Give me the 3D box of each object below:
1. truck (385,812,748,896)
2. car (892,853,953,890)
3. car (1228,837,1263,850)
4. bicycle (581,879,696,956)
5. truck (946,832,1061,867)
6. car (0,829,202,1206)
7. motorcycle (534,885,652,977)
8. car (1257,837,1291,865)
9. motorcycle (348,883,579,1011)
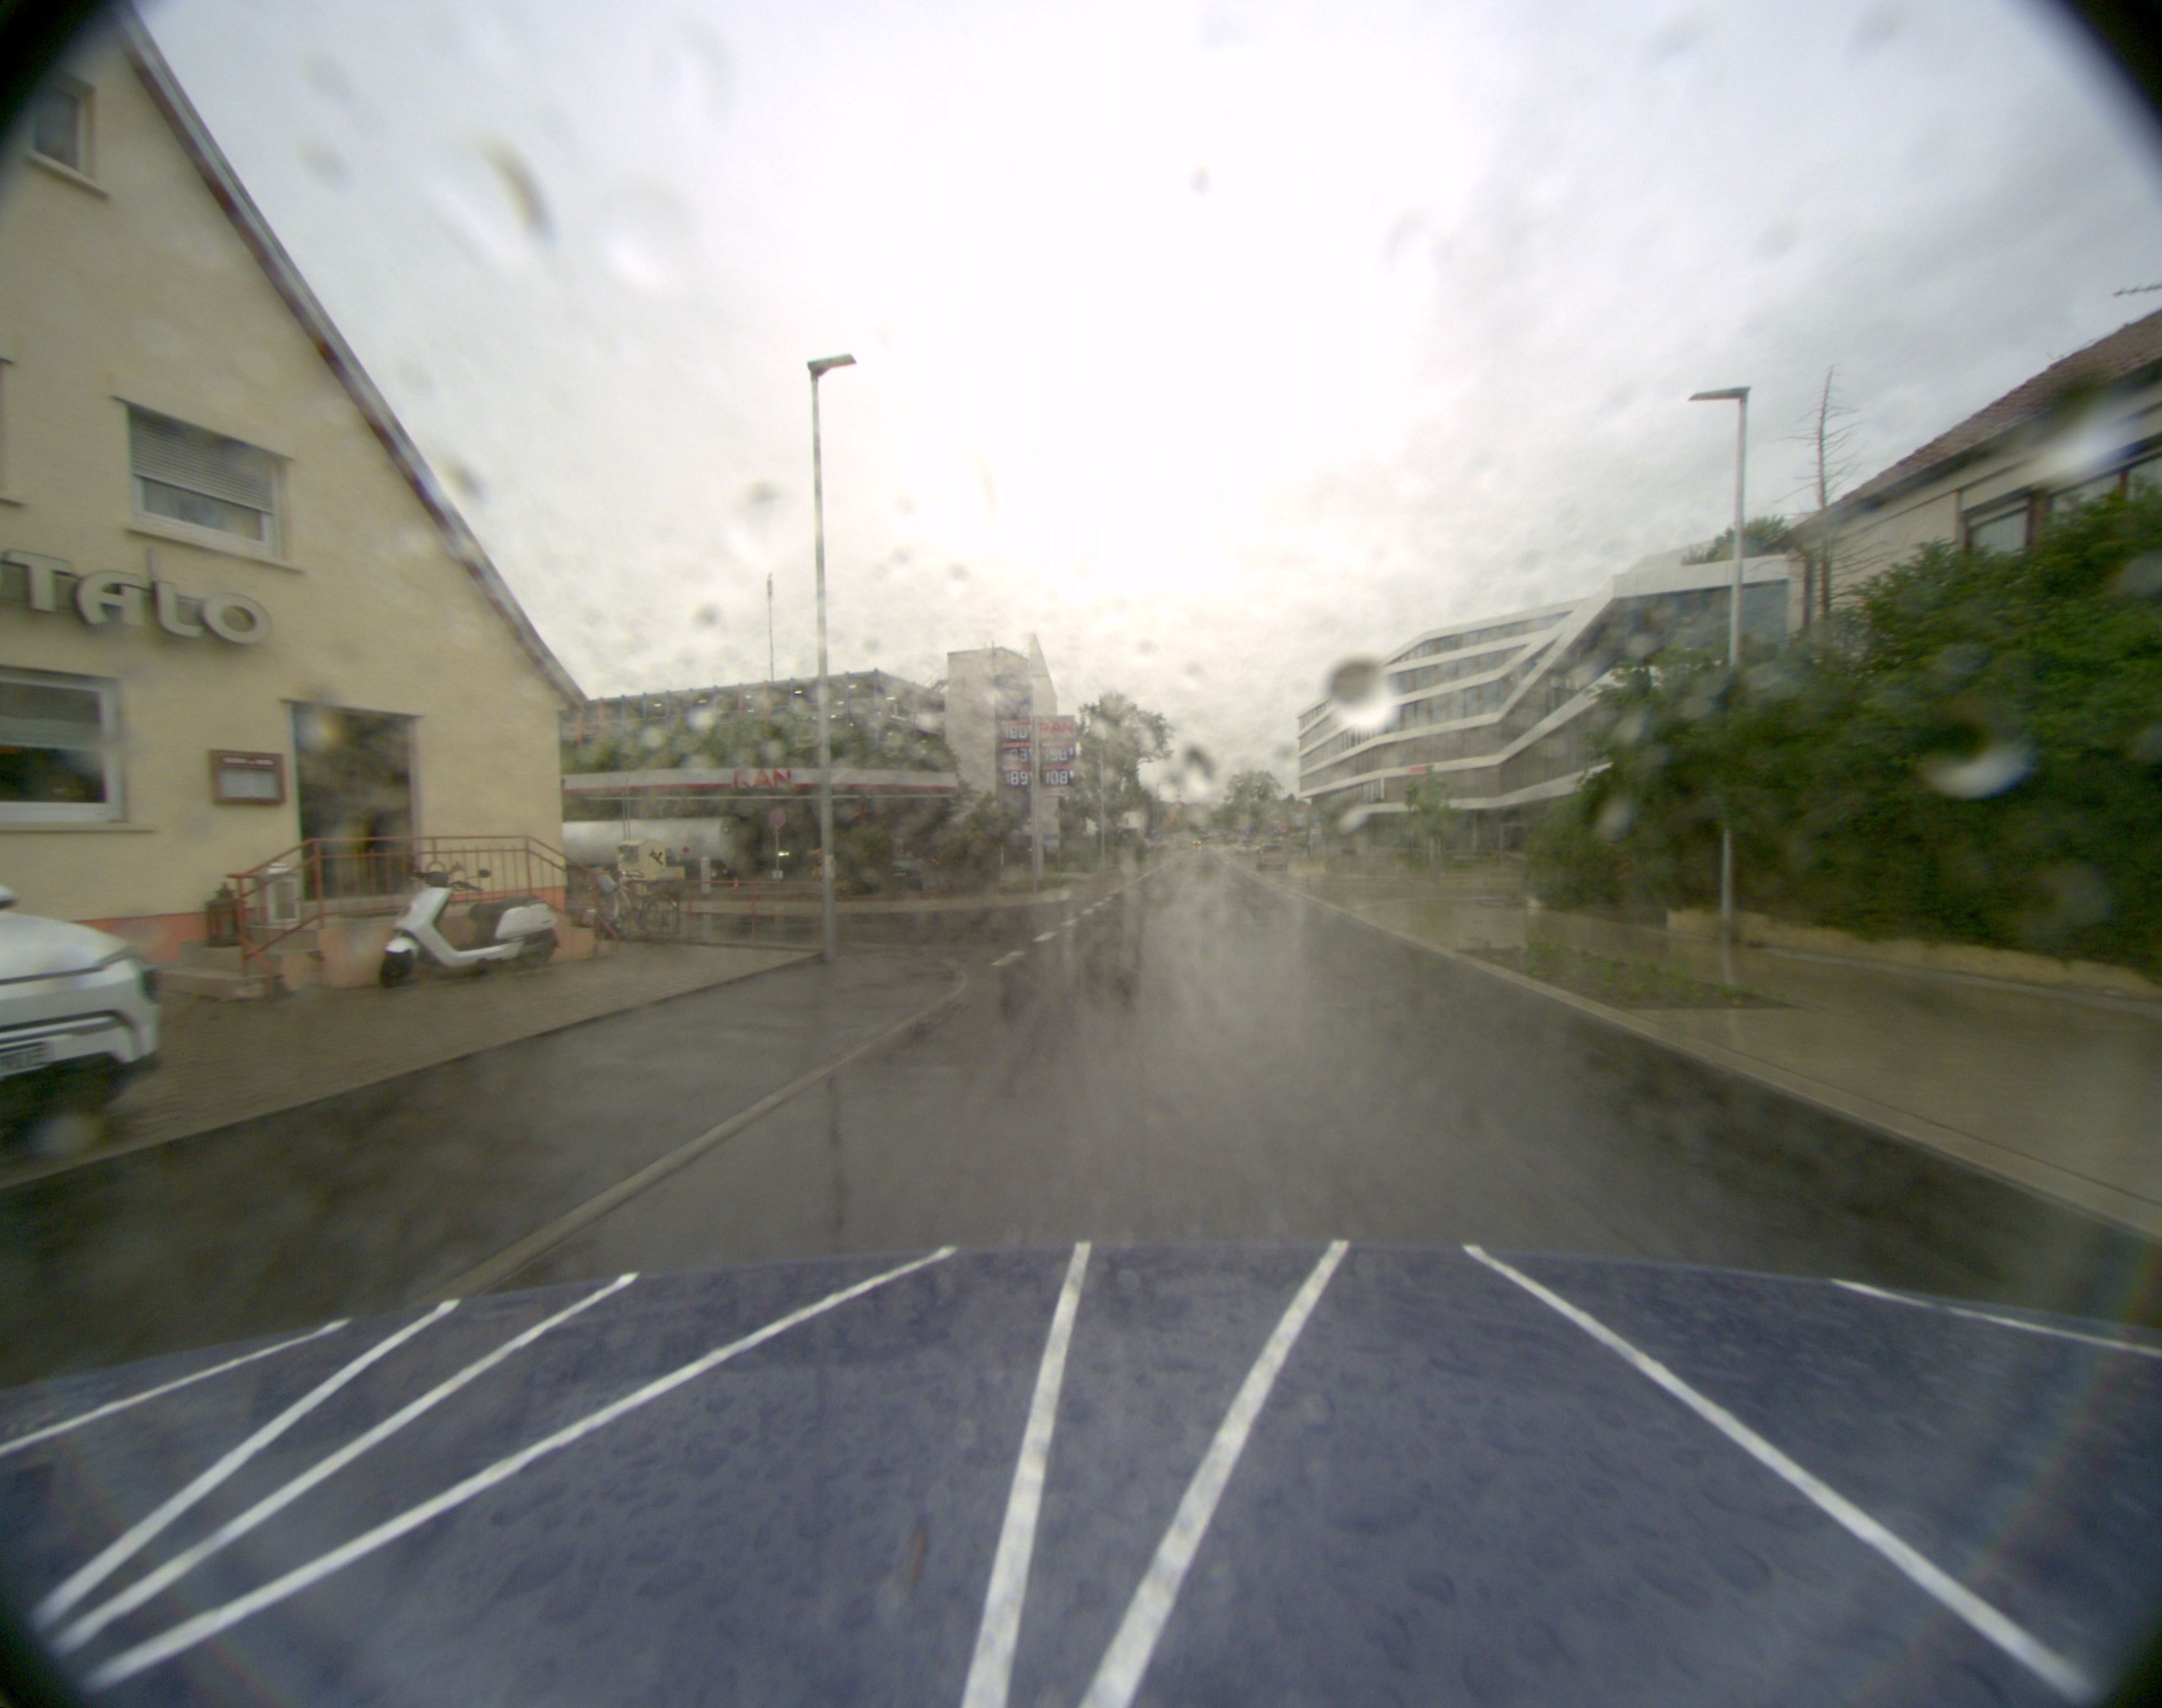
[{"bbox_3d":[-23.676,-0.014,35.780,14.411,3.339,2.646,-2,-1,-8],"label":"truck"},{"bbox_3d":[-6.498,0.671,31.589,1.693,1.332,4.338,-1,1,-1],"label":"car"},{"bbox_3d":[20.619,-1.349,94.945,4.163,1.411,2.002,-3,1,13],"label":"car"},{"bbox_3d":[-6.653,0.936,11.415,1.772,1.089,0.490,-1,1,22],"label":"bicycle"},{"bbox_3d":[-5.081,-0.256,50.412,7.292,2.193,2.086,1,-1,3],"label":"truck"},{"bbox_3d":[-6.764,0.684,3.223,4.224,1.601,1.861,1,2,6],"label":"car"},{"bbox_3d":[-8.228,1.261,12.796,2.035,1.448,0.490,-1,2,21],"label":"motorcycle"},{"bbox_3d":[12.662,-0.222,50.088,1.840,1.696,4.326,-1,1,10],"label":"car"},{"bbox_3d":[-6.393,0.898,8.036,0.488,1.089,2.002,-1,0,12],"label":"motorcycle"}]
